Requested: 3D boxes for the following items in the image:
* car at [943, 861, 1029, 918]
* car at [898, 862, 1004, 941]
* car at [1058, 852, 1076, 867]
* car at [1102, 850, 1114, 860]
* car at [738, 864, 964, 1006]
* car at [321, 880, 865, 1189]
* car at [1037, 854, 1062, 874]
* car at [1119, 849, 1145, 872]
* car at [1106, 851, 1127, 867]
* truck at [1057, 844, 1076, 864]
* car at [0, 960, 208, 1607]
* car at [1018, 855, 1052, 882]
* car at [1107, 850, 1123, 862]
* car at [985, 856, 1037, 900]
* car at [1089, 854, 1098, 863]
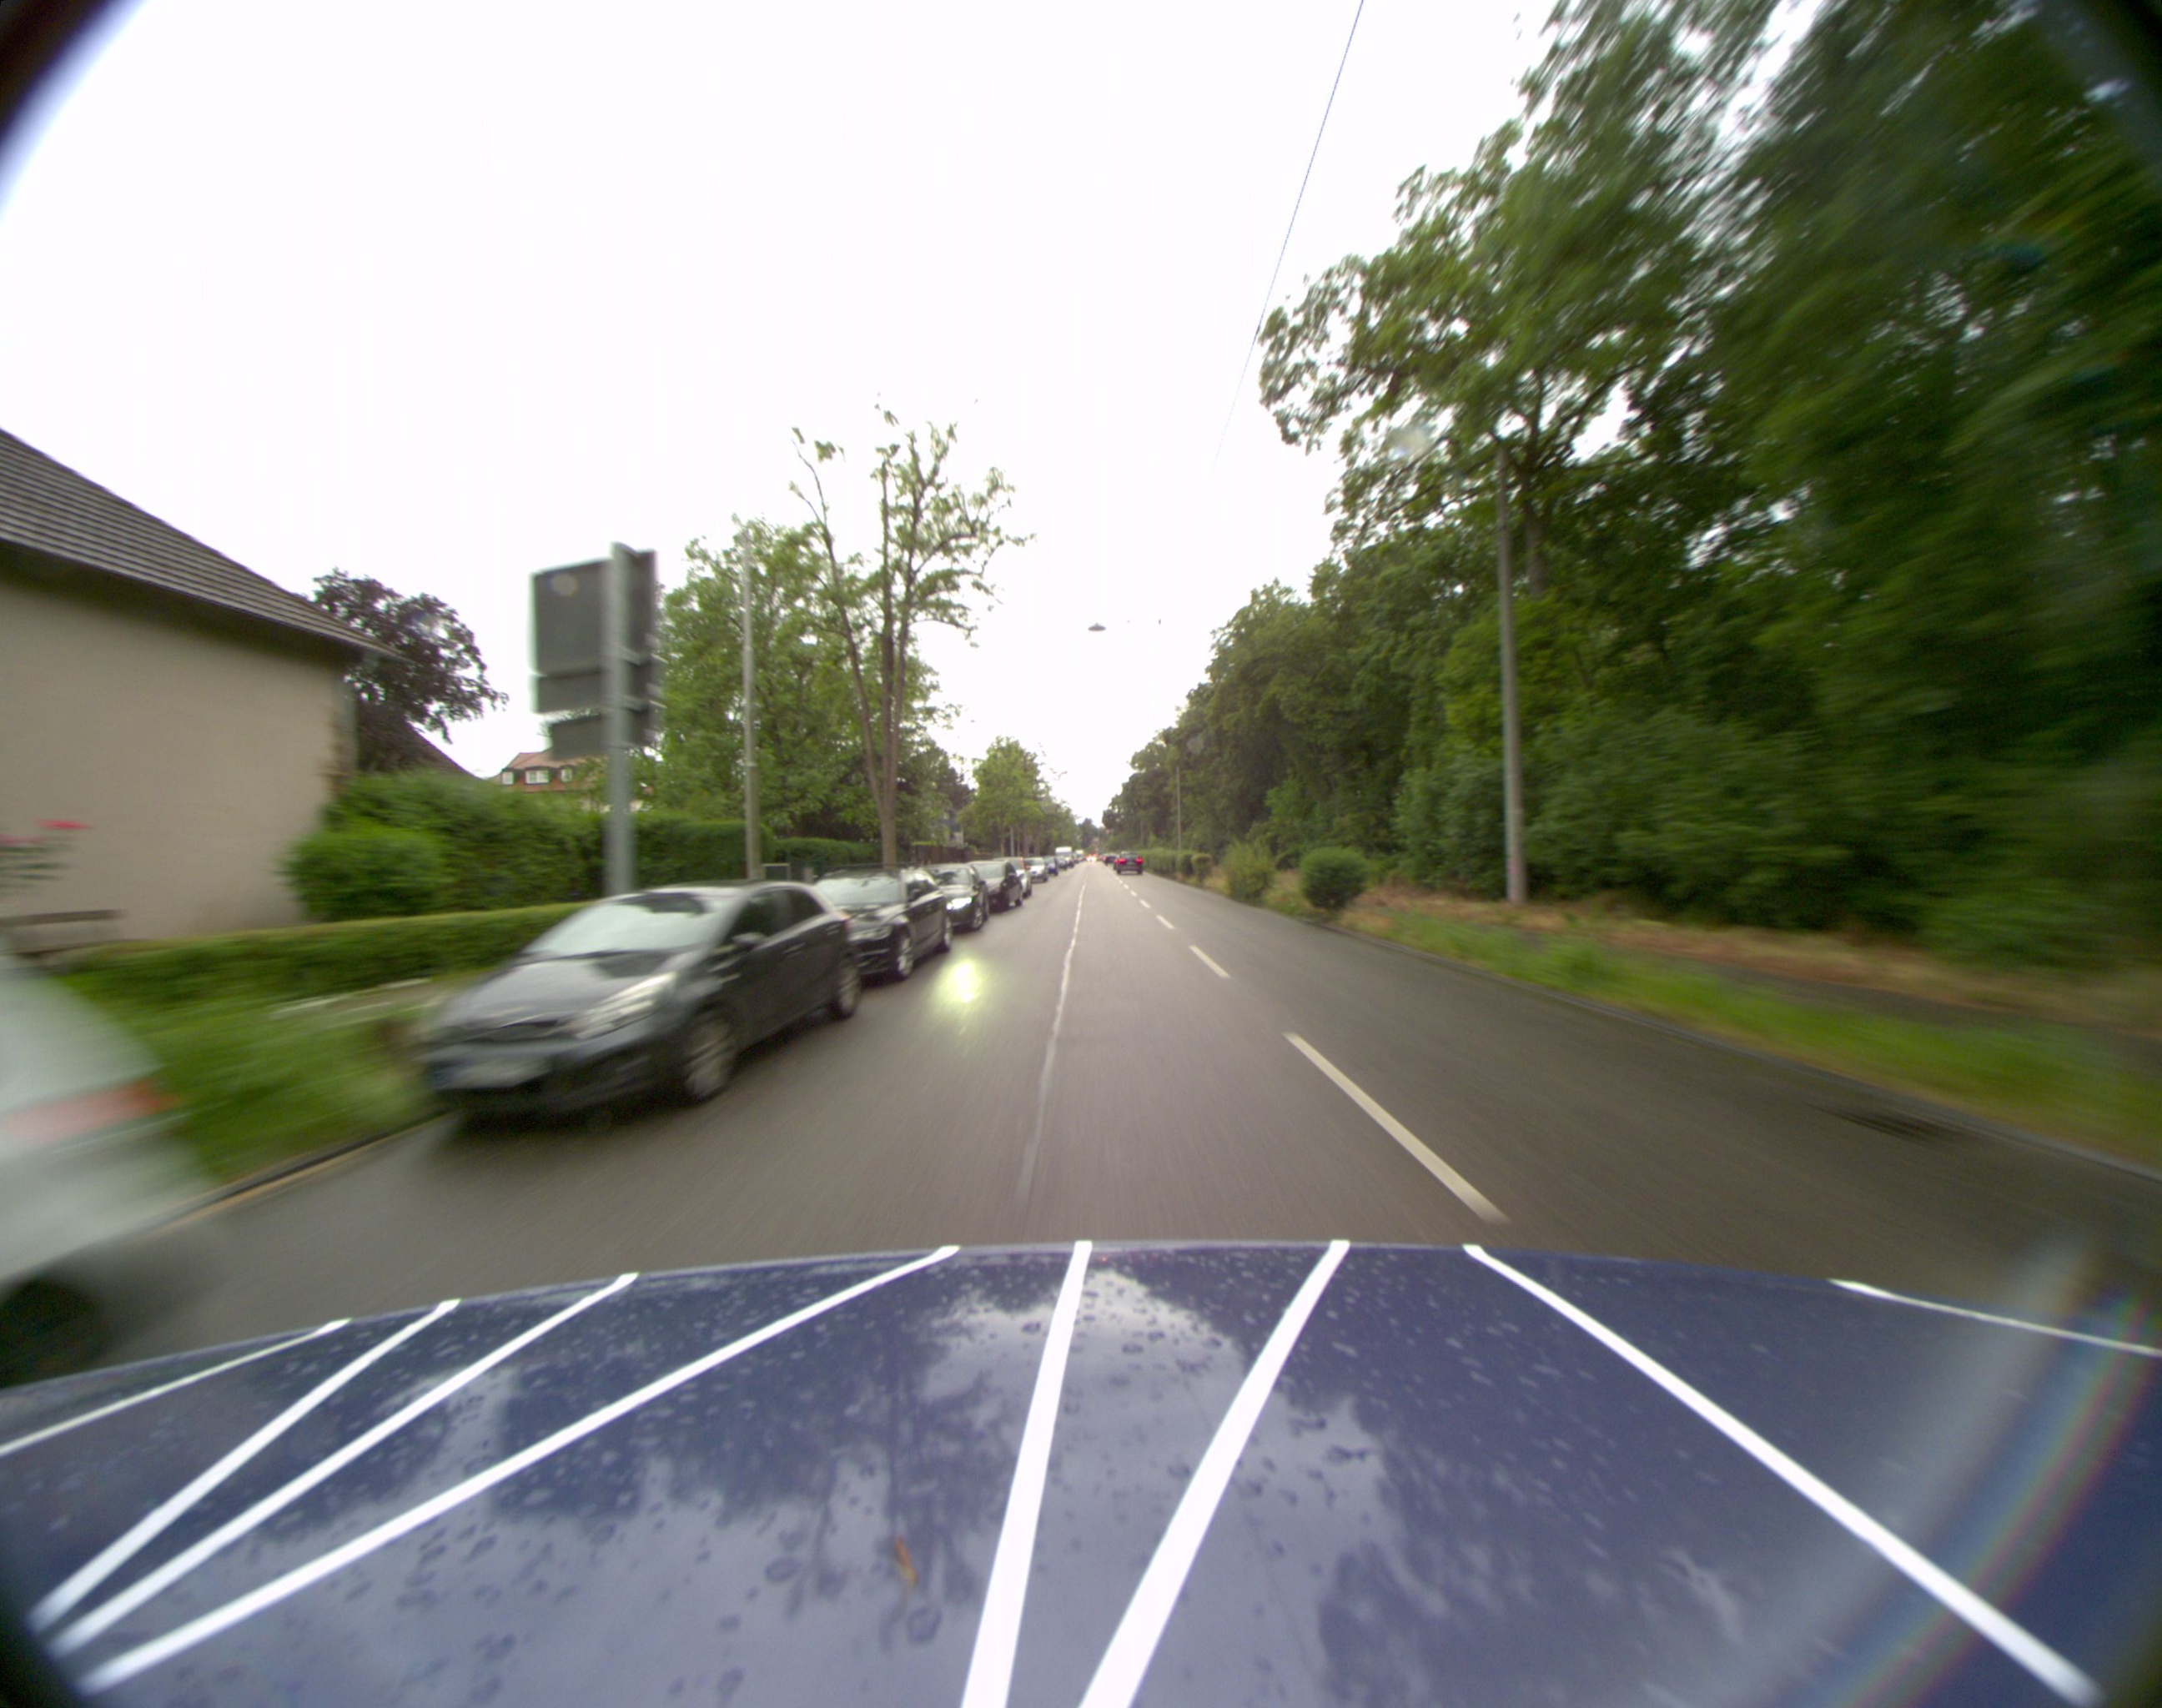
[{"bbox_3d":[-2.720,0.974,22.629,1.732,1.402,4.001,-3,0,4],"label":"car"},{"bbox_3d":[-2.856,0.986,17.580,1.621,1.459,4.410,-3,0,0],"label":"car"},{"bbox_3d":[-1.433,0.563,78.501,1.789,1.452,3.999,0,0,-1],"label":"car"},{"bbox_3d":[4.508,0.133,127.259,1.998,1.543,3.999,0,0,0],"label":"car"},{"bbox_3d":[-3.099,0.993,11.434,1.757,1.517,4.823,-3,0,1],"label":"car"},{"bbox_3d":[-3.233,1.063,6.120,1.621,1.462,3.944,-3,0,3],"label":"car"},{"bbox_3d":[-2.391,0.731,58.004,1.675,1.420,3.699,-3,0,1],"label":"car"},{"bbox_3d":[3.754,0.448,56.887,1.680,1.608,4.061,0,0,0],"label":"car"},{"bbox_3d":[3.371,0.451,72.497,1.718,1.438,4.051,0,0,-2],"label":"car"},{"bbox_3d":[-1.706,0.014,91.390,2.230,2.322,5.113,0,0,0],"label":"truck"},{"bbox_3d":[-3.397,1.087,0.322,1.575,1.463,3.765,-3,0,1],"label":"car"},{"bbox_3d":[-2.671,0.840,45.040,1.675,1.420,3.699,-3,0,1],"label":"car"},{"bbox_3d":[4.480,0.268,99.238,1.851,1.490,3.999,0,0,-1],"label":"car"},{"bbox_3d":[-2.633,0.894,29.057,1.601,1.508,2.801,-3,0,1],"label":"car"},{"bbox_3d":[3.157,1.068,188.141,1.998,2.002,4.000,-3,1,3],"label":"car"}]
